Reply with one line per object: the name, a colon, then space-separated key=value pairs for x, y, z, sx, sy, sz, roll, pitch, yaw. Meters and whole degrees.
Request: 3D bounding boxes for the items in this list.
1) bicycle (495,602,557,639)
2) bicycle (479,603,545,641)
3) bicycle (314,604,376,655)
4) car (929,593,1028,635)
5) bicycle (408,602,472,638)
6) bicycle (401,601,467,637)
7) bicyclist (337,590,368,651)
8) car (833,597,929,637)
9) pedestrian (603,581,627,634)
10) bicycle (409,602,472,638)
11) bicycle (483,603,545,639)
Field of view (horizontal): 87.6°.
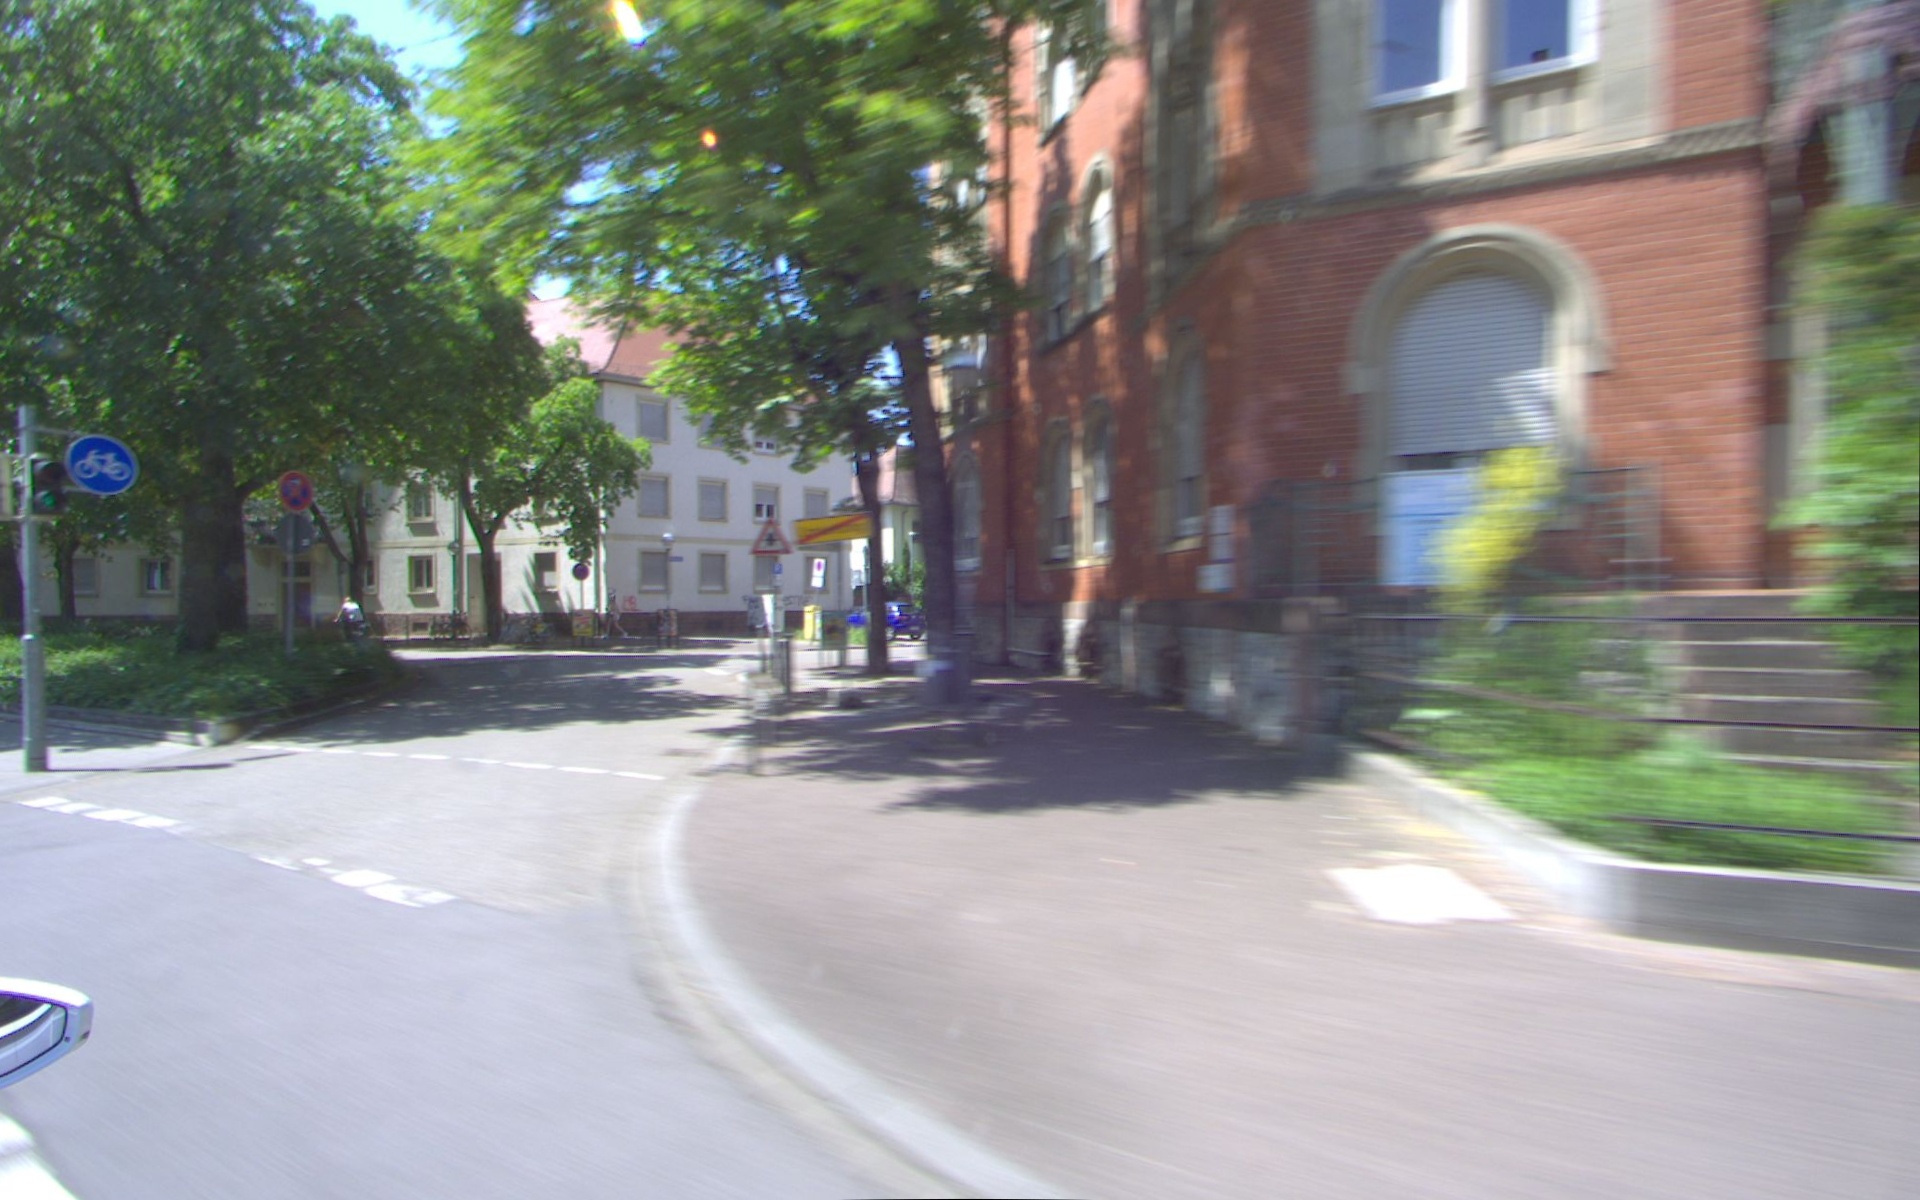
bicycle: x=-15.906 y=0.762 z=36.747 sx=0.540 sy=1.317 sz=2.145 roll=0 pitch=0 yaw=36
bicycle: x=-15.811 y=0.775 z=35.383 sx=0.540 sy=1.317 sz=2.145 roll=0 pitch=0 yaw=36
bicycle: x=-18.777 y=0.898 z=30.553 sx=2.133 sy=1.505 sz=0.591 roll=0 pitch=0 yaw=27
car: x=0.733 y=0.562 z=42.895 sx=4.220 sy=1.674 sz=1.711 roll=1 pitch=1 yaw=44
bicycle: x=-20.353 y=0.782 z=39.230 sx=0.508 sy=1.365 sz=2.229 roll=0 pitch=0 yaw=36
bicycle: x=-20.760 y=0.739 z=39.576 sx=0.508 sy=1.362 sz=2.314 roll=0 pitch=0 yaw=36
bicyclist: x=-18.417 y=0.631 z=30.373 sx=0.525 sy=1.823 sz=0.601 roll=0 pitch=0 yaw=26
car: x=-3.185 y=0.644 z=39.798 sx=3.847 sy=1.448 sz=1.711 roll=1 pitch=1 yaw=44
pedestrian: x=-13.441 y=0.278 z=39.014 sx=0.795 sy=2.040 sz=0.770 roll=0 pitch=0 yaw=-25
bicycle: x=-20.056 y=0.766 z=38.680 sx=0.540 sy=1.317 sz=2.145 roll=0 pitch=0 yaw=36
bicycle: x=-16.571 y=0.769 z=37.268 sx=0.540 sy=1.317 sz=2.145 roll=0 pitch=0 yaw=36
